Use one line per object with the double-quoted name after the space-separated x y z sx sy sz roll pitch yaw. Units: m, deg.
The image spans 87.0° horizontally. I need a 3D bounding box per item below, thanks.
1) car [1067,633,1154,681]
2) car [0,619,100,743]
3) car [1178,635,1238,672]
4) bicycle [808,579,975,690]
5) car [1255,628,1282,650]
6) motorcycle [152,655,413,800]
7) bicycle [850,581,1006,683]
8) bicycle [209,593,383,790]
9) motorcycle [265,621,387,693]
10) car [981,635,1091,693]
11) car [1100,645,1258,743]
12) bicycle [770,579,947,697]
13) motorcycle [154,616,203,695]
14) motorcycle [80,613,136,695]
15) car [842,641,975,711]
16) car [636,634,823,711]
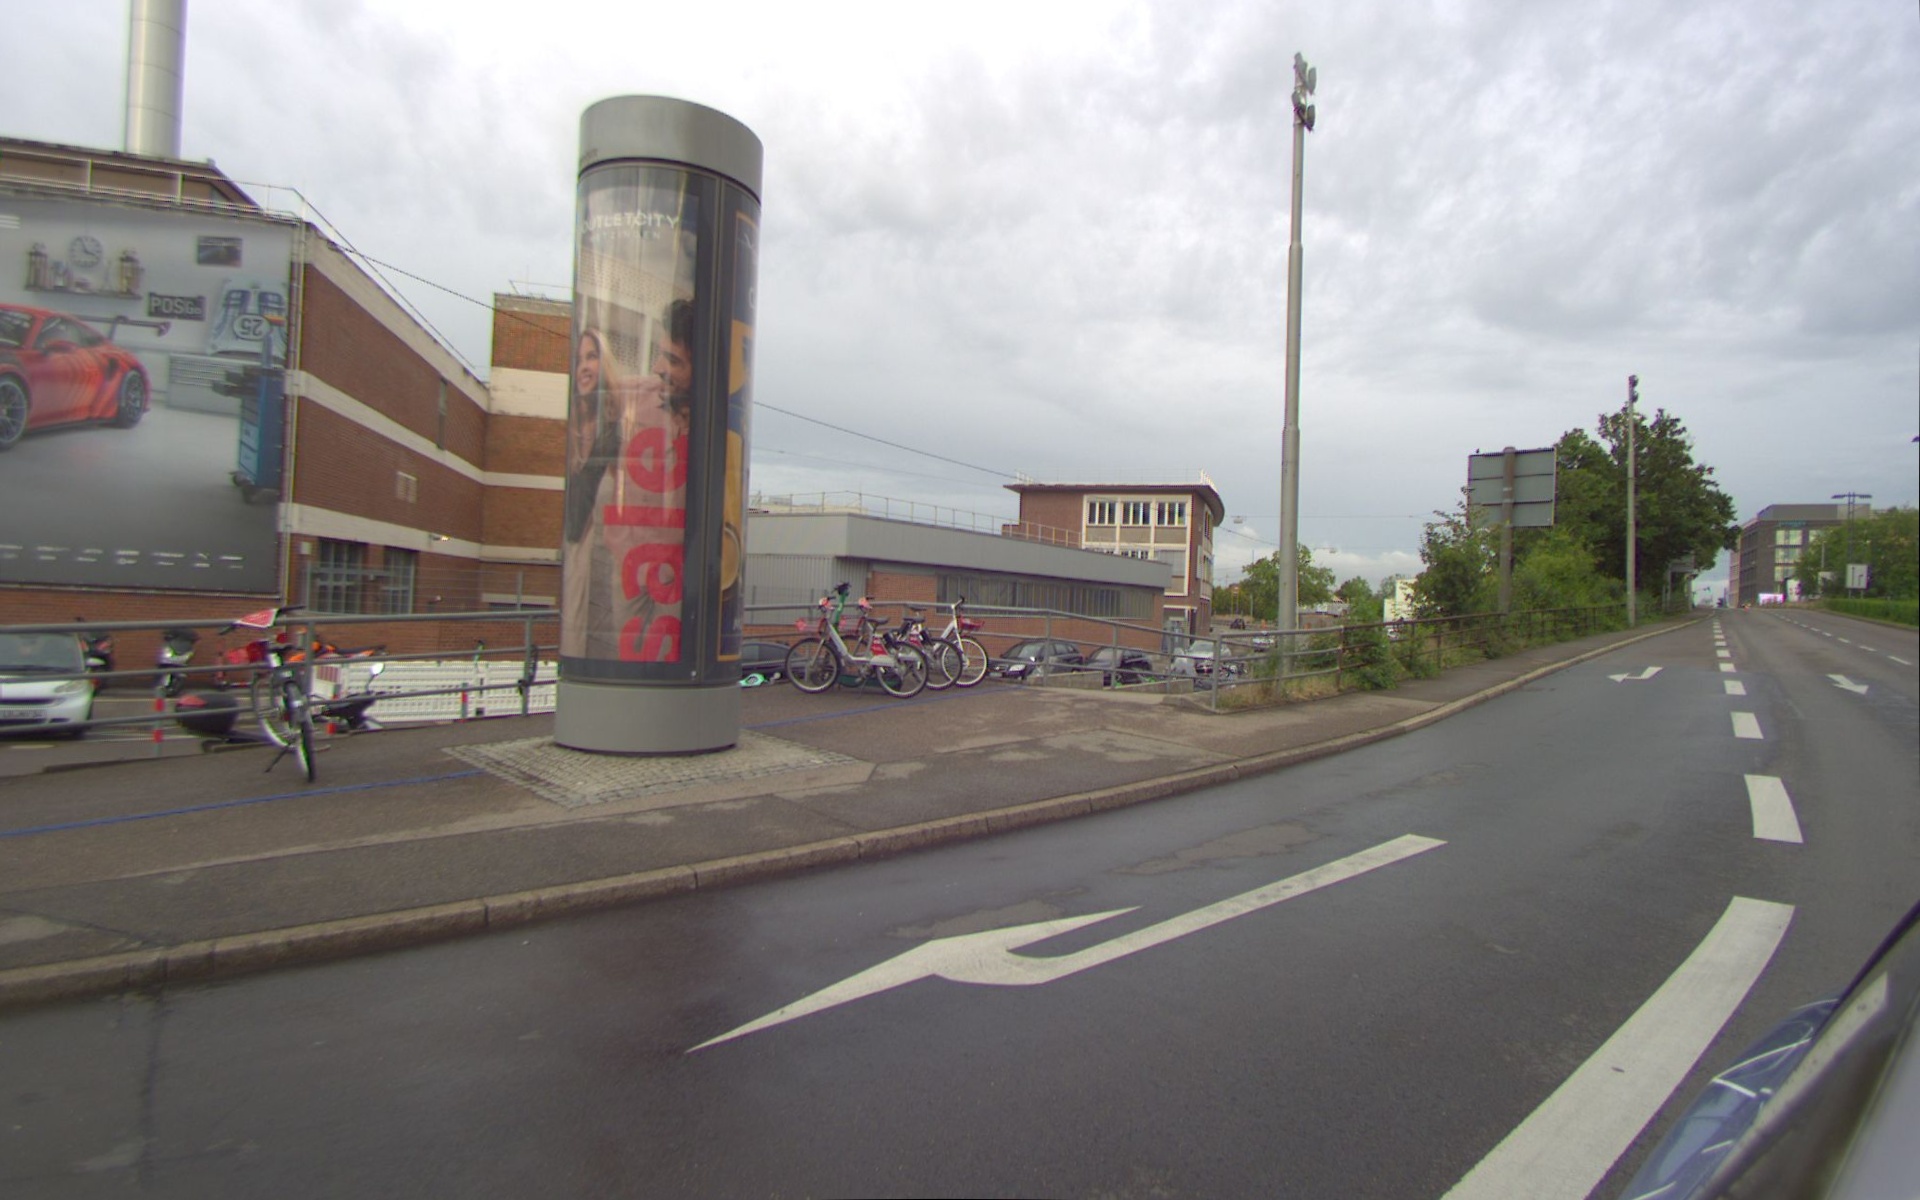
5.837 2.147 38.932 1.694 1.574 3.805 1 1 37 "car"
-13.909 1.122 15.007 1.663 1.500 3.557 4 -1 -40 "car"
12.441 2.645 50.629 1.692 1.574 3.809 1 1 35 "car"
-0.808 0.393 12.128 1.900 1.239 0.598 1 1 8 "bicycle"
23.341 2.929 76.524 1.648 1.413 3.971 0 0 21 "car"
-5.756 1.030 8.681 0.696 1.002 1.726 1 0 38 "motorcycle"
-0.417 0.373 12.960 1.910 1.192 0.595 2 1 23 "bicycle"
-4.764 0.573 7.209 1.799 1.176 0.583 3 2 41 "bicycle"
-13.001 1.179 20.837 1.943 1.325 0.932 3 1 -24 "motorcycle"
2.639 2.091 34.183 1.629 1.652 4.371 1 1 37 "car"
4.504 1.795 20.408 1.694 1.574 3.805 1 1 37 "car"
-1.140 0.409 11.492 1.901 1.239 0.598 2 1 10 "bicycle"
-15.242 1.058 19.765 0.562 1.325 1.873 3 2 -34 "motorcycle"
-16.107 0.989 19.163 0.675 1.325 2.022 3 2 -38 "motorcycle"
-1.407 2.106 28.841 1.694 1.648 3.878 1 1 37 "car"
-5.346 1.656 23.973 1.694 1.630 4.204 -1 -3 37 "car"
